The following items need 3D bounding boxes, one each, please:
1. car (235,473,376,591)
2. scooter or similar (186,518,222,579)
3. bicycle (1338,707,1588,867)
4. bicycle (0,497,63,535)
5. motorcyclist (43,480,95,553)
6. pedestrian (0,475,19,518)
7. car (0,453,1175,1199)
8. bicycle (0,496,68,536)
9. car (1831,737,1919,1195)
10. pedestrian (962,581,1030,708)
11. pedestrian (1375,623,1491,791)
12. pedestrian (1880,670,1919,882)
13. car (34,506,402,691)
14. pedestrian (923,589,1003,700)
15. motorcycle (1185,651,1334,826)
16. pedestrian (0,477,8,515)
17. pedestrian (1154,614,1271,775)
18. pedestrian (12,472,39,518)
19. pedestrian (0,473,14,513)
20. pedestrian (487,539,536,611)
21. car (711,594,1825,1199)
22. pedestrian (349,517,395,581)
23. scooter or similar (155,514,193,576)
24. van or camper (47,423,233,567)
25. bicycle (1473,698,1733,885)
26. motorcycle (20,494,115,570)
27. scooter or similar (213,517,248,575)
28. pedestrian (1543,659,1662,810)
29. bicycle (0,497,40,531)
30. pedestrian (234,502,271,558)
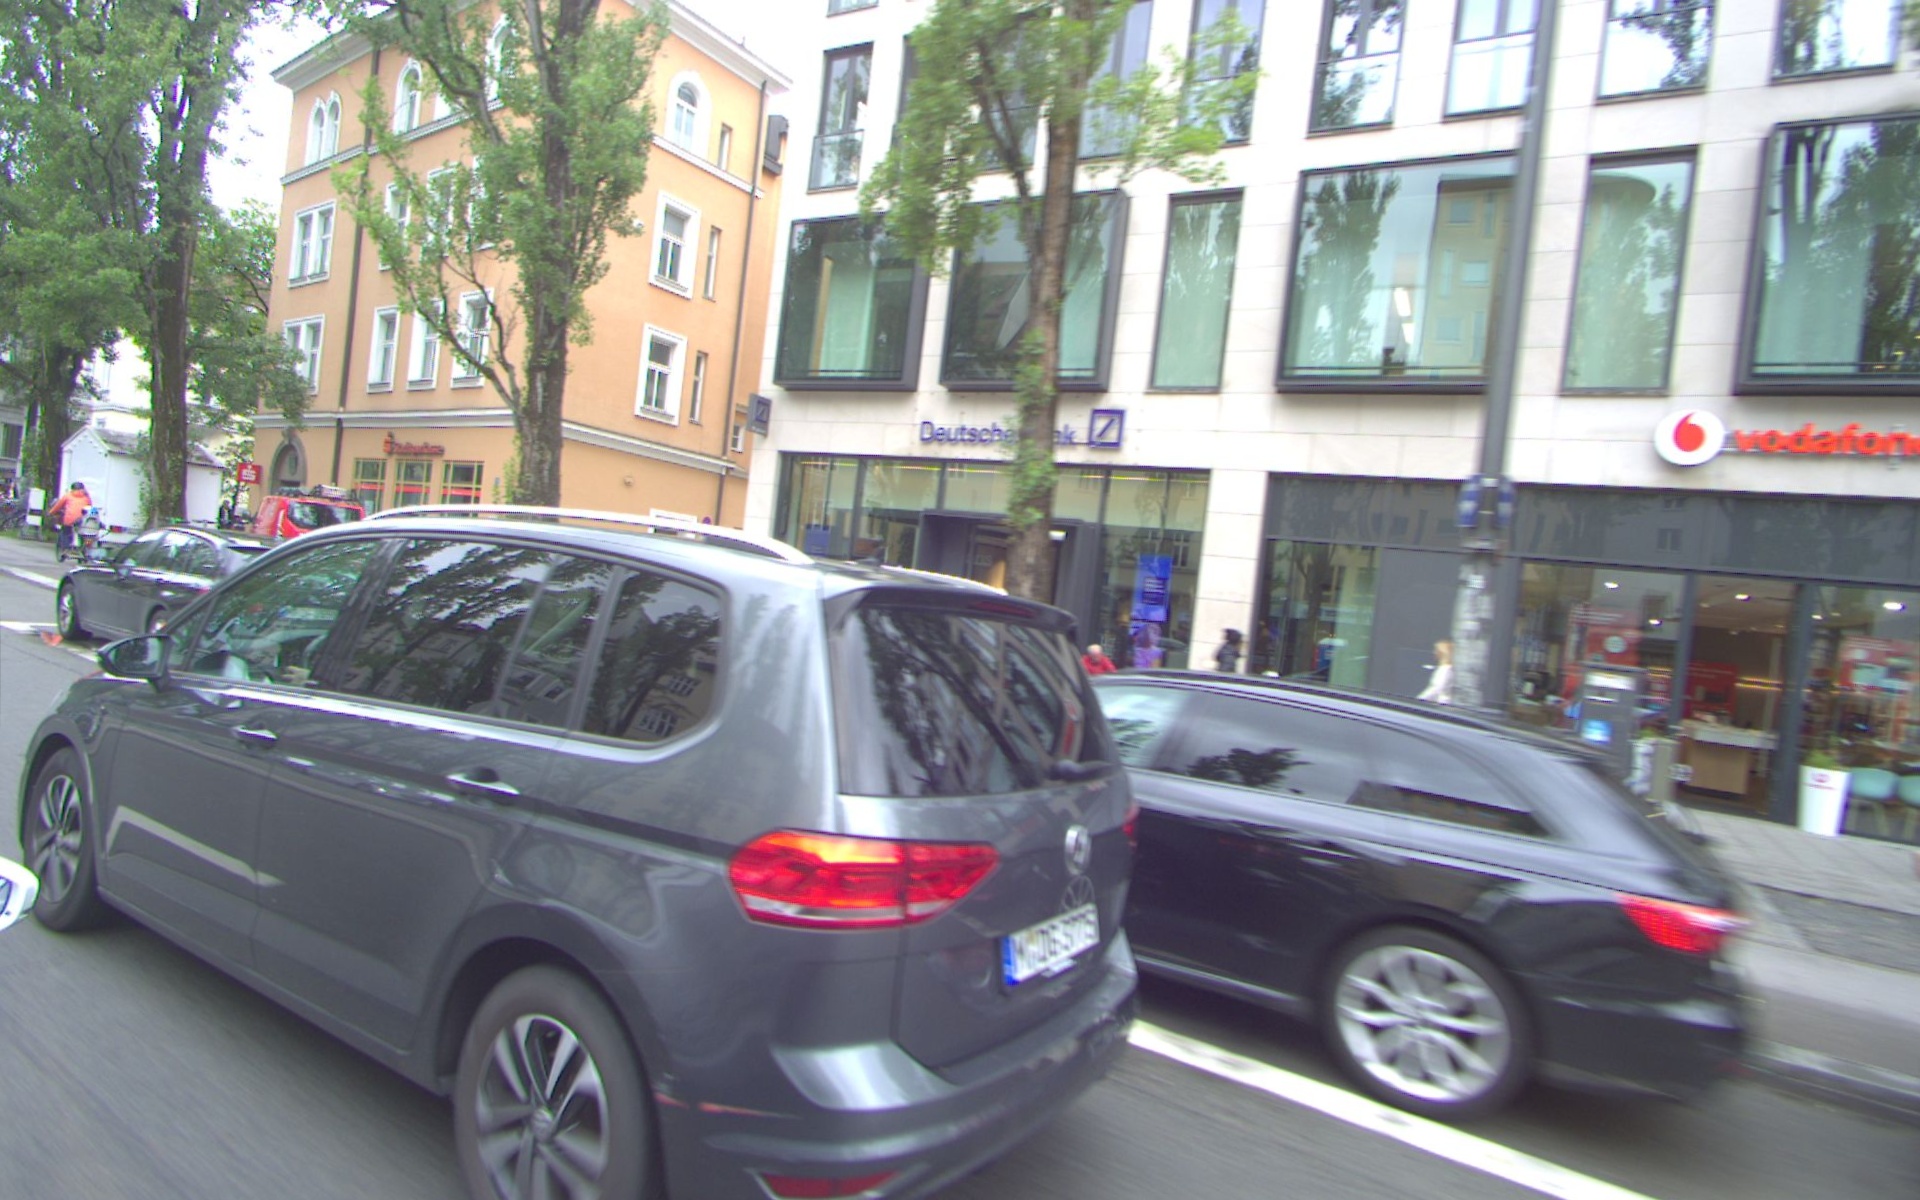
[{"bbox_3d":[-15.633,-1.660,23.899,1.894,2.358,4.765,5,1,-43],"label":"car"},{"bbox_3d":[-16.875,-1.160,22.444,0.484,1.249,1.389,3,3,-42],"label":"scooter or similar"},{"bbox_3d":[4.186,1.518,8.473,1.737,0.953,0.432,7,2,41],"label":"bicycle"},{"bbox_3d":[-31.176,-2.826,33.312,0.678,1.036,2.059,7,0,25],"label":"bicycle"},{"bbox_3d":[-18.856,-1.761,21.289,0.753,1.425,0.564,7,2,32],"label":"motorcyclist"},{"bbox_3d":[-38.545,-4.172,40.536,0.663,1.671,0.621,6,1,-28],"label":"pedestrian"},{"bbox_3d":[-1.598,0.529,3.543,4.114,1.633,1.764,7,-1,31],"label":"car"},{"bbox_3d":[-29.876,-2.702,32.081,0.681,1.036,2.050,7,0,42],"label":"bicycle"},{"bbox_3d":[5.342,1.495,2.228,4.722,1.468,1.933,7,0,30],"label":"car"},{"bbox_3d":[0.500,0.609,13.899,0.546,1.658,0.554,6,1,-30],"label":"pedestrian"},{"bbox_3d":[5.413,1.216,11.521,0.786,1.794,0.677,6,1,-27],"label":"pedestrian"},{"bbox_3d":[9.210,1.645,9.137,0.923,1.893,0.818,7,2,31],"label":"pedestrian"},{"bbox_3d":[-8.061,-0.072,10.800,4.361,1.412,1.734,7,1,34],"label":"car"},{"bbox_3d":[0.052,0.700,15.924,0.825,1.641,0.736,7,2,35],"label":"pedestrian"},{"bbox_3d":[2.684,1.190,9.266,0.627,1.267,1.973,6,1,-1],"label":"motorcycle"},{"bbox_3d":[-48.289,-5.252,50.254,0.728,1.877,0.761,7,1,32],"label":"pedestrian"},{"bbox_3d":[2.809,1.022,11.157,0.922,1.596,0.835,7,1,27],"label":"pedestrian"},{"bbox_3d":[-40.990,-4.597,44.125,0.756,1.895,0.699,6,-1,44],"label":"pedestrian"},{"bbox_3d":[-41.328,-4.635,43.339,0.756,1.666,0.646,6,-1,44],"label":"pedestrian"},{"bbox_3d":[-10.344,-0.573,23.208,0.701,1.571,0.606,7,2,7],"label":"pedestrian"},{"bbox_3d":[1.087,0.981,4.894,4.352,1.446,1.849,7,0,32],"label":"car"},{"bbox_3d":[-16.350,-1.415,27.988,0.792,1.647,0.729,7,2,37],"label":"pedestrian"},{"bbox_3d":[-17.356,-1.227,22.212,0.522,1.249,1.459,3,3,-42],"label":"scooter or similar"},{"bbox_3d":[-21.085,-2.709,25.819,4.642,3.152,2.459,7,1,36],"label":"van or camper"},{"bbox_3d":[5.338,1.560,8.477,1.686,1.203,0.455,7,2,28],"label":"bicycle"},{"bbox_3d":[-18.885,-1.446,21.274,2.215,1.387,0.827,7,2,32],"label":"motorcycle"},{"bbox_3d":[-16.625,-1.238,22.925,0.484,1.249,1.154,3,3,-42],"label":"scooter or similar"},{"bbox_3d":[7.574,1.578,11.869,0.786,1.641,0.713,6,1,-26],"label":"pedestrian"},{"bbox_3d":[-32.321,-2.957,33.722,0.678,1.036,2.061,7,0,16],"label":"bicycle"},{"bbox_3d":[-22.074,-2.172,31.394,0.630,1.634,0.672,7,2,38],"label":"pedestrian"}]
